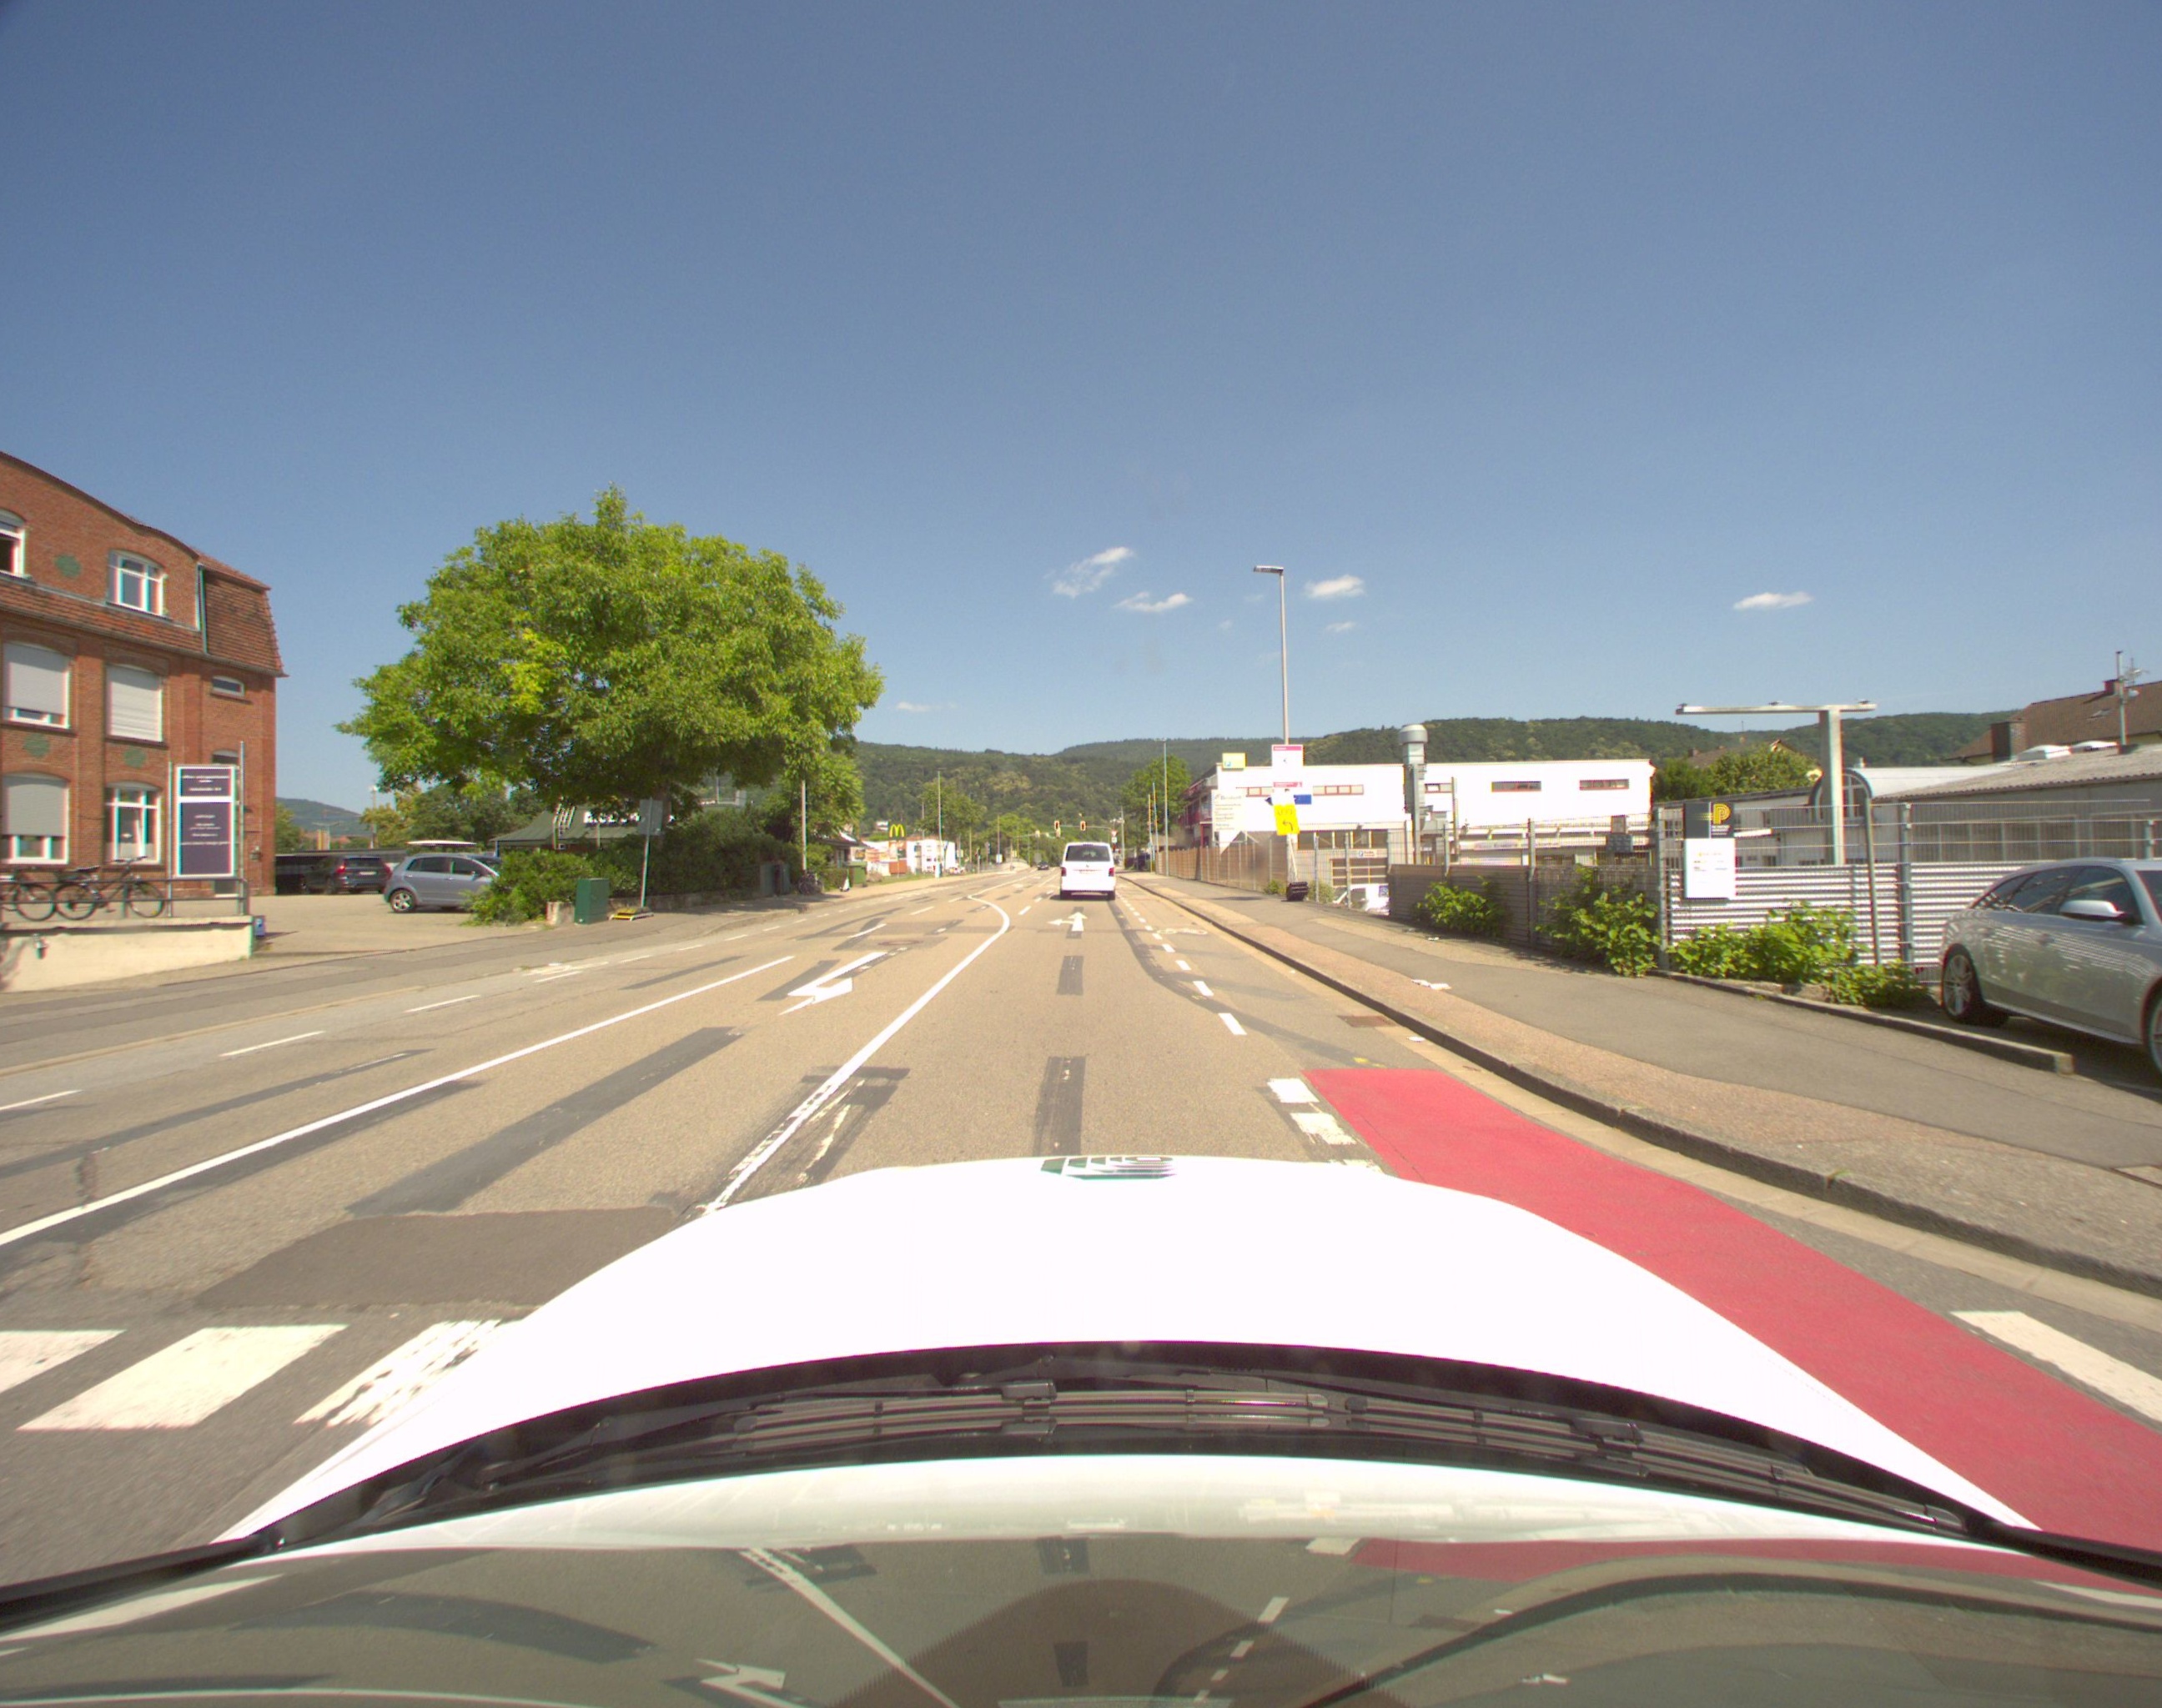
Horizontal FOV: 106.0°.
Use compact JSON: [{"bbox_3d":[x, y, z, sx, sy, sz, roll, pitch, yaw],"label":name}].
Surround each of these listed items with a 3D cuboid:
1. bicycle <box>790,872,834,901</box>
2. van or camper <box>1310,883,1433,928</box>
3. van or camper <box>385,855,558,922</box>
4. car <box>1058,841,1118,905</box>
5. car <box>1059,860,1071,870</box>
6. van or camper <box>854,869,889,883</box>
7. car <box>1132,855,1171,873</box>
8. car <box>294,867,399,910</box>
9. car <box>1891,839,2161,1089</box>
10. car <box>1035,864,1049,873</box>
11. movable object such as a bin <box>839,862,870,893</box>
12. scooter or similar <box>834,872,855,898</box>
[{"bbox_3d":[-11.357,1.347,34.528,1.024,1.118,2.763,1,-1,-3],"label":"bicycle"},{"bbox_3d":[11.811,2.075,33.308,4.305,1.651,2.017,0,-1,-5],"label":"van or camper"},{"bbox_3d":[-16.379,0.901,21.991,3.379,1.665,1.634,1,0,1],"label":"van or camper"},{"bbox_3d":[0.182,0.653,29.201,1.929,2.060,4.541,1,-1,-2],"label":"car"},{"bbox_3d":[-2.579,1.839,134.927,1.843,1.588,4.000,-2,-1,0],"label":"car"},{"bbox_3d":[-25.087,2.645,97.494,3.998,1.574,1.987,1,-1,-19],"label":"van or camper"},{"bbox_3d":[7.457,1.079,85.462,3.967,1.775,2.003,-2,-1,6],"label":"car"},{"bbox_3d":[-31.258,1.476,34.646,4.421,1.633,2.169,-3,-1,32],"label":"car"},{"bbox_3d":[7.543,0.693,5.397,1.933,1.359,4.524,2,-1,29],"label":"car"},{"bbox_3d":[-6.171,2.302,130.872,1.987,1.370,4.326,-2,-1,0],"label":"car"},{"bbox_3d":[-12.213,1.260,43.992,1.447,1.590,1.303,-2,0,-9],"label":"movable object such as a bin"},{"bbox_3d":[-11.100,1.441,38.325,0.646,1.128,1.619,2,-1,-6],"label":"scooter or similar"}]
